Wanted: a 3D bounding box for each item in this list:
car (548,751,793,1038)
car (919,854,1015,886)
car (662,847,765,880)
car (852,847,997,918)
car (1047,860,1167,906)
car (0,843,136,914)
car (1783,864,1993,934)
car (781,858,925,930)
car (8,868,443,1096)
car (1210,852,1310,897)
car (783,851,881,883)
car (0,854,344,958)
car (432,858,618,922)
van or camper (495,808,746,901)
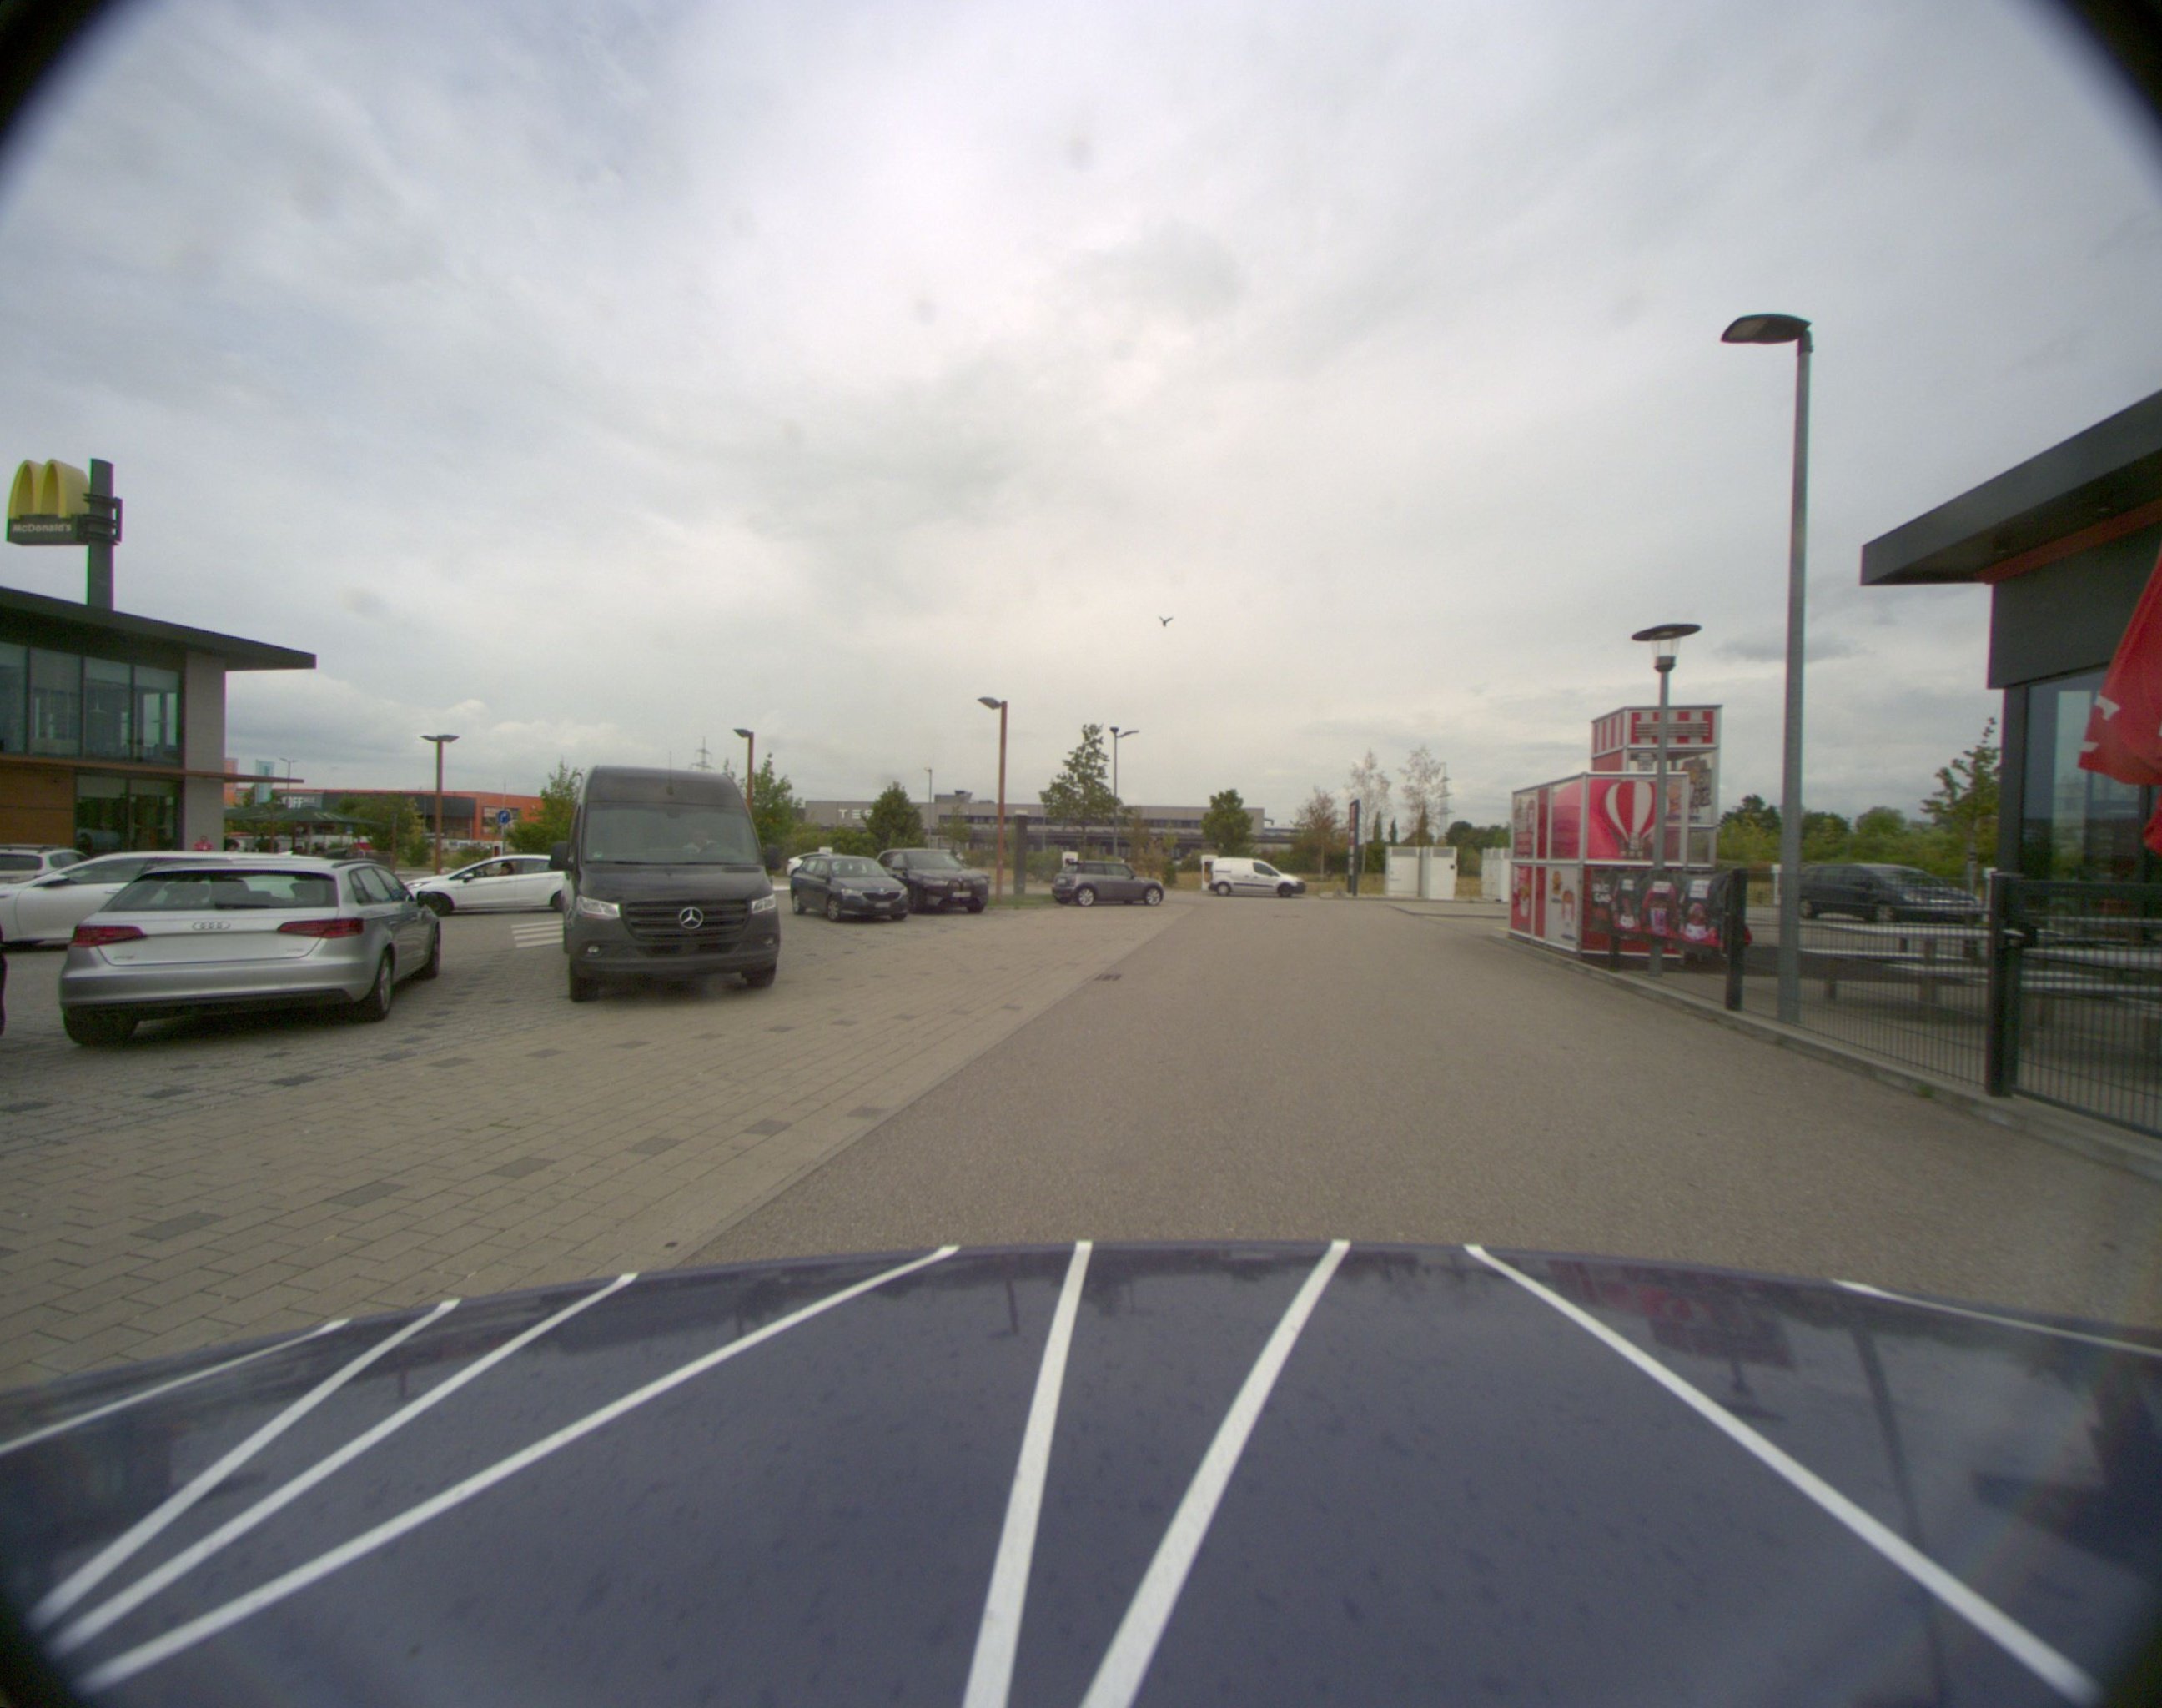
[{"bbox_3d":[-5.812,0.355,10.198,2.077,2.538,6.994,0,0,-34],"label":"car"},{"bbox_3d":[-5.782,0.794,38.724,4.447,1.450,1.836,2,1,15],"label":"car"},{"bbox_3d":[-20.255,0.507,41.931,4.935,1.593,2.075,2,1,14],"label":"car"},{"bbox_3d":[-4.420,0.699,20.882,2.004,1.717,4.883,2,-1,-36],"label":"car"},{"bbox_3d":[0.844,0.930,24.637,3.533,1.368,1.606,2,-1,-27],"label":"car"},{"bbox_3d":[-26.376,0.569,19.263,1.794,1.478,3.988,3,1,-32],"label":"car"},{"bbox_3d":[21.331,1.097,20.398,1.582,1.607,4.491,2,0,13],"label":"car"},{"bbox_3d":[-5.445,0.835,17.842,1.836,1.403,3.988,0,1,-39],"label":"car"},{"bbox_3d":[-7.532,0.901,7.235,1.690,1.443,3.990,0,0,-32],"label":"car"},{"bbox_3d":[8.214,0.922,35.032,4.329,1.877,1.948,2,-1,12],"label":"car"},{"bbox_3d":[-13.183,0.661,40.357,4.470,1.544,2.075,1,1,12],"label":"car"},{"bbox_3d":[-14.796,0.766,12.130,4.119,1.458,1.775,1,-2,-36],"label":"car"},{"bbox_3d":[-13.656,0.827,18.884,3.581,1.445,1.838,0,0,-35],"label":"car"},{"bbox_3d":[-14.446,0.008,24.372,6.583,2.685,2.167,0,0,-28],"label":"van or camper"}]
